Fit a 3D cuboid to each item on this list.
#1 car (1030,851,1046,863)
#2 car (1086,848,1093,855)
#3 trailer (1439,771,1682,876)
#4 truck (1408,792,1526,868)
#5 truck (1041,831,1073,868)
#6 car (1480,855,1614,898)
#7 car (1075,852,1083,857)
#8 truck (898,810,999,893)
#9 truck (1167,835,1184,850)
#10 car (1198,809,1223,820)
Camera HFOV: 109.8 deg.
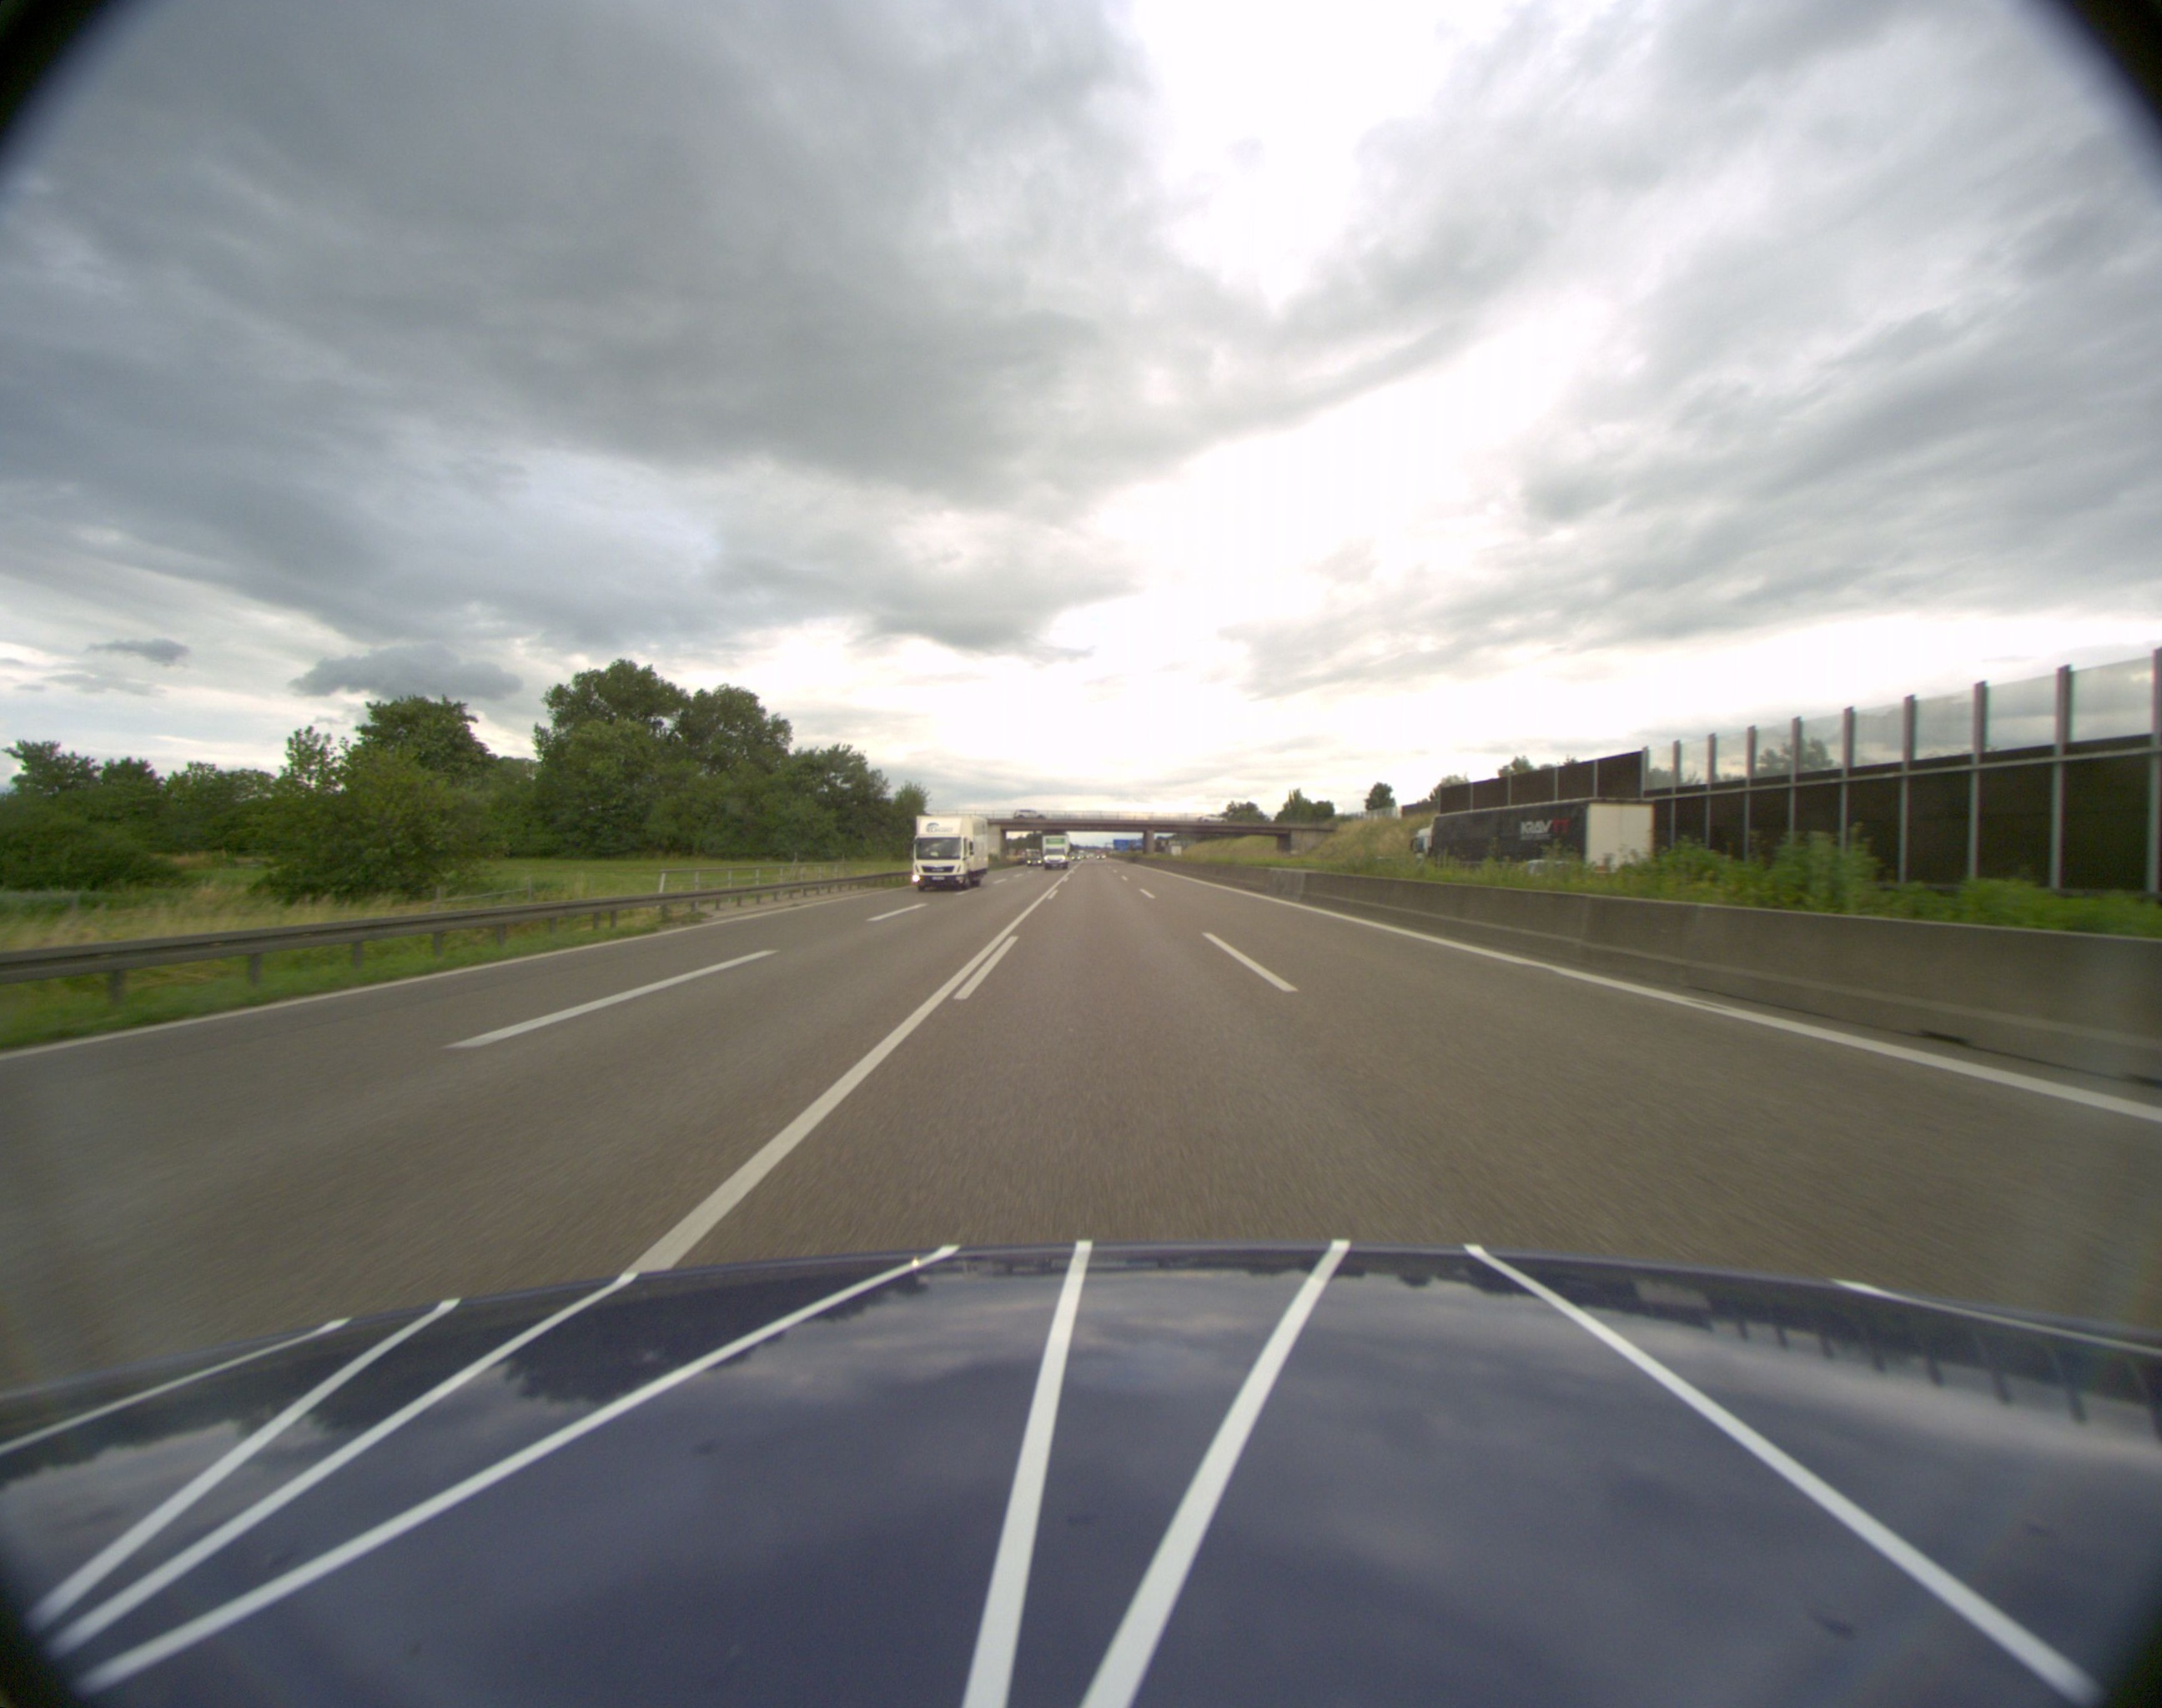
[{"bbox_3d":[-5.627,0.393,99.832,1.922,1.541,4.923,0,0,0],"label":"car"},{"bbox_3d":[2.334,-0.800,219.244,1.998,2.002,4.000,0,1,1],"label":"car"},{"bbox_3d":[21.748,-1.257,36.068,3.680,3.957,12.677,-2,1,1],"label":"trailer"},{"bbox_3d":[21.901,-1.319,43.572,3.677,3.925,6.013,-2,1,1],"label":"truck"},{"bbox_3d":[-2.316,-0.455,77.496,2.777,3.484,9.061,-1,0,1],"label":"truck"},{"bbox_3d":[17.284,0.770,28.518,1.998,1.356,4.940,-2,1,0],"label":"car"},{"bbox_3d":[-0.458,0.047,170.350,1.781,1.180,4.000,0,0,1],"label":"car"},{"bbox_3d":[-6.177,-0.161,37.065,3.112,3.451,8.890,-2,1,1],"label":"truck"},{"bbox_3d":[24.165,-2.982,194.611,3.005,3.662,13.007,-1,1,1],"label":"truck"},{"bbox_3d":[19.256,-5.848,112.891,3.341,1.439,1.659,-1,1,-11],"label":"car"}]
